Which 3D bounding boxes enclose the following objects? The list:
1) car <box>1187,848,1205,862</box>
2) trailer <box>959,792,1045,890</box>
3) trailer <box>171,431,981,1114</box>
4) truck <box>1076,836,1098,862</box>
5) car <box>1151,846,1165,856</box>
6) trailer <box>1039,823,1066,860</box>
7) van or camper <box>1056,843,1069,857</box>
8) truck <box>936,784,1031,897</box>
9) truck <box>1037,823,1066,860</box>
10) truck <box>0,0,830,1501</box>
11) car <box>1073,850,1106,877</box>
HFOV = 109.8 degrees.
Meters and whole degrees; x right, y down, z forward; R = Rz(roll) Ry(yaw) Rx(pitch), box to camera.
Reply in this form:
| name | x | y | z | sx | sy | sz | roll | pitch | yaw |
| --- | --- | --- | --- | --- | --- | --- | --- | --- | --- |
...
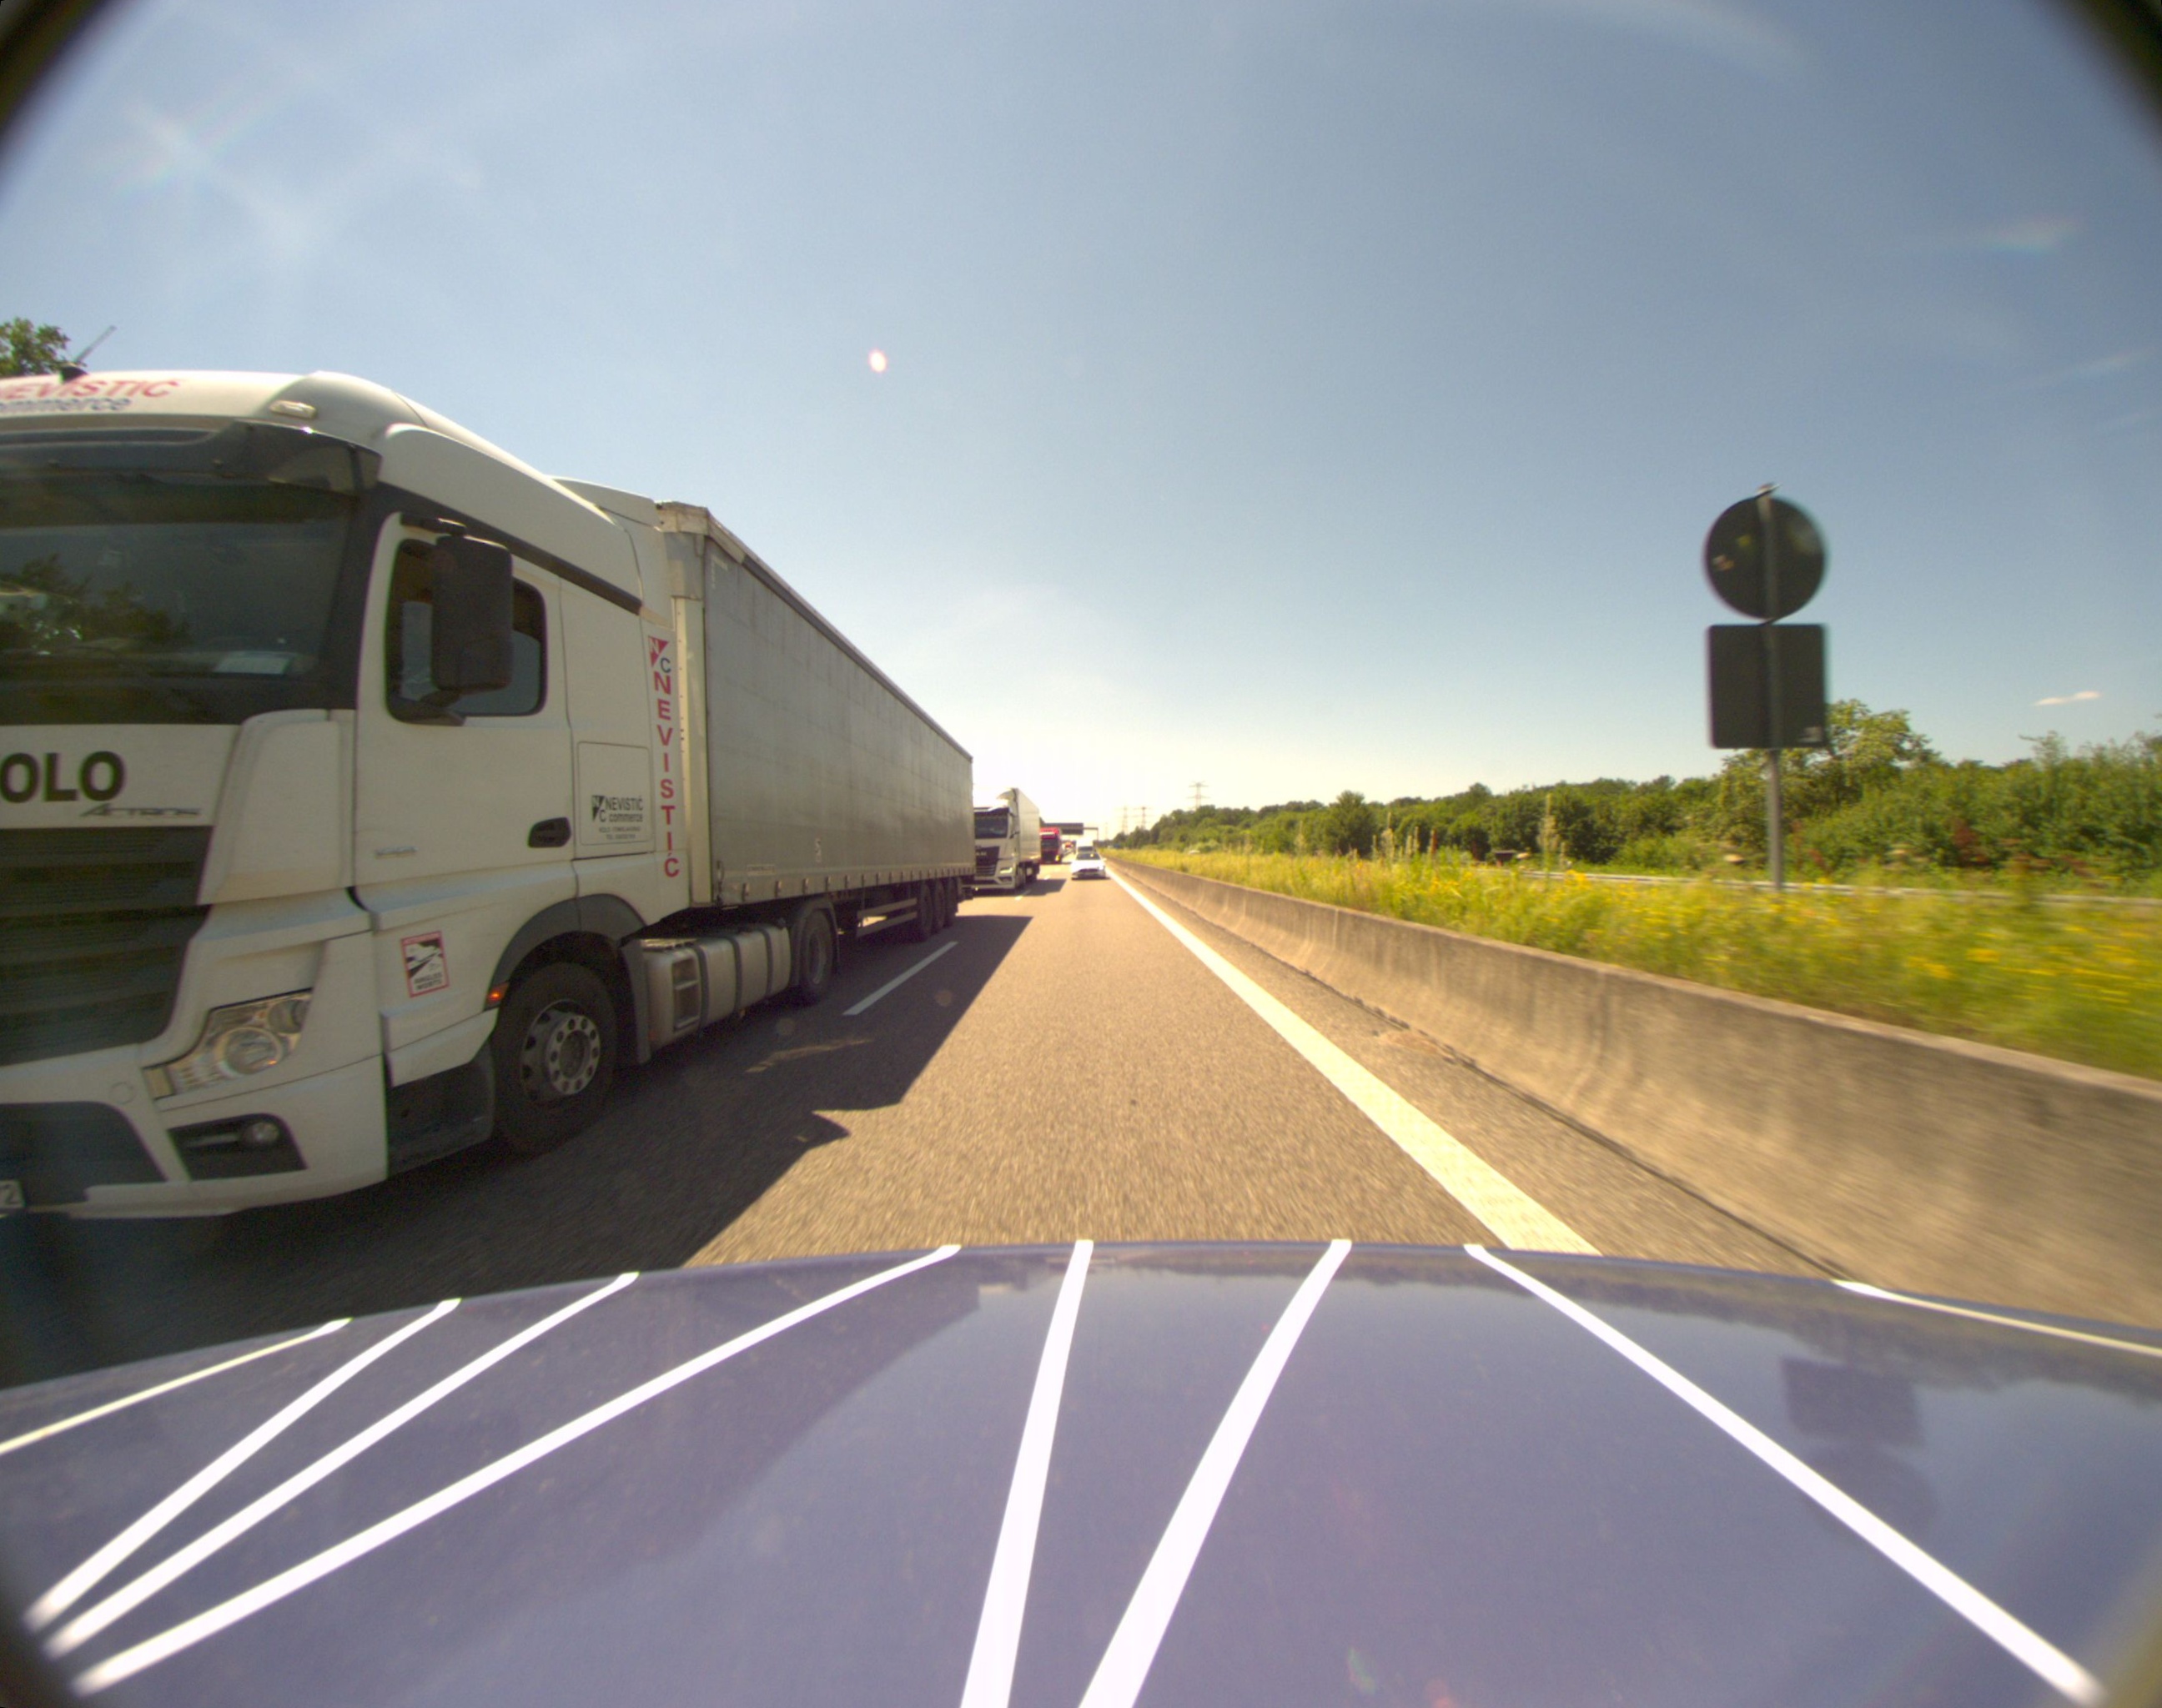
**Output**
| name | x | y | z | sx | sy | sz | roll | pitch | yaw |
| --- | --- | --- | --- | --- | --- | --- | --- | --- | --- |
| car | 14.444 | 0.099 | 95.457 | 1.653 | 1.635 | 3.999 | 0 | 1 | 0 |
| trailer | -3.612 | -0.602 | 38.071 | 2.802 | 4.012 | 12.566 | -1 | 1 | 0 |
| trailer | -3.993 | -0.607 | 11.962 | 2.714 | 4.045 | 14.742 | -2 | 1 | 0 |
| truck | 0.642 | -0.576 | 85.628 | 2.192 | 2.841 | 5.502 | -1 | 1 | -1 |
| car | 14.085 | -0.534 | 139.614 | 1.937 | 1.738 | 4.487 | 0 | 1 | -2 |
| trailer | -3.391 | -1.500 | 93.633 | 2.945 | 3.995 | 16.195 | -2 | 1 | -1 |
| van or camper | -3.468 | -0.811 | 143.706 | 2.412 | 2.483 | 6.430 | -1 | 0 | -1 |
| truck | -3.675 | -0.517 | 30.112 | 2.807 | 3.984 | 6.020 | -1 | 1 | 1 |
| truck | -3.237 | -1.394 | 84.788 | 2.948 | 3.963 | 6.099 | -2 | 1 | -1 |
| truck | -4.021 | -0.482 | 4.574 | 2.707 | 4.071 | 6.451 | -2 | 1 | 0 |
| car | 0.475 | 0.508 | 44.796 | 1.788 | 1.462 | 3.999 | -1 | 0 | -1 |
